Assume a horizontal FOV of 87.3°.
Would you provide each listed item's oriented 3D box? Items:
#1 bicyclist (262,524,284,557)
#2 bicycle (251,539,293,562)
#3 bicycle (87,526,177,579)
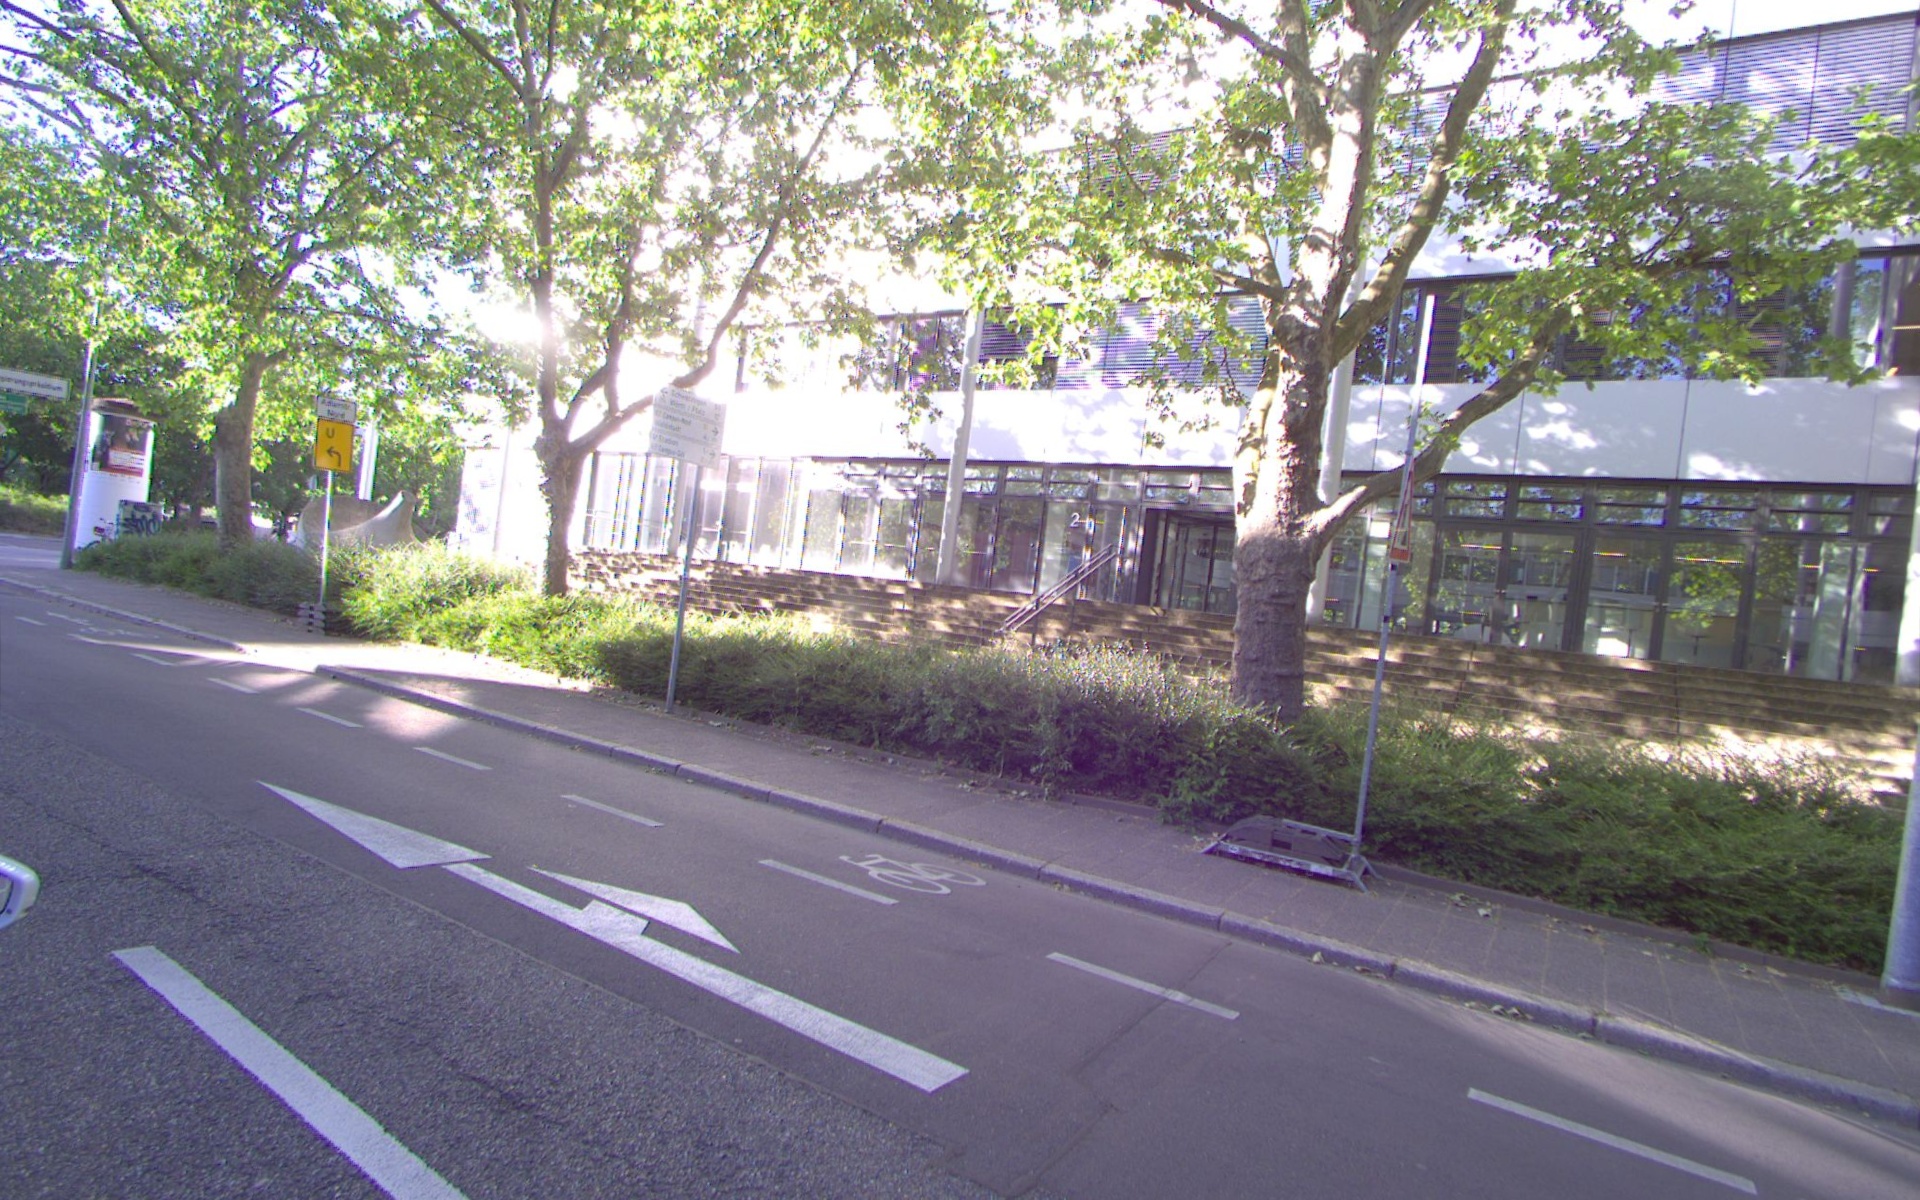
[{"bbox_3d":[-30.412,-2.633,44.536,0.534,1.363,0.523,6,-1,35],"label":"bicyclist"},{"bbox_3d":[-30.452,-2.184,44.520,0.504,0.810,1.370,6,-2,35],"label":"bicycle"},{"bbox_3d":[-19.052,-1.077,23.183,0.295,0.991,1.484,6,-2,37],"label":"bicycle"}]
